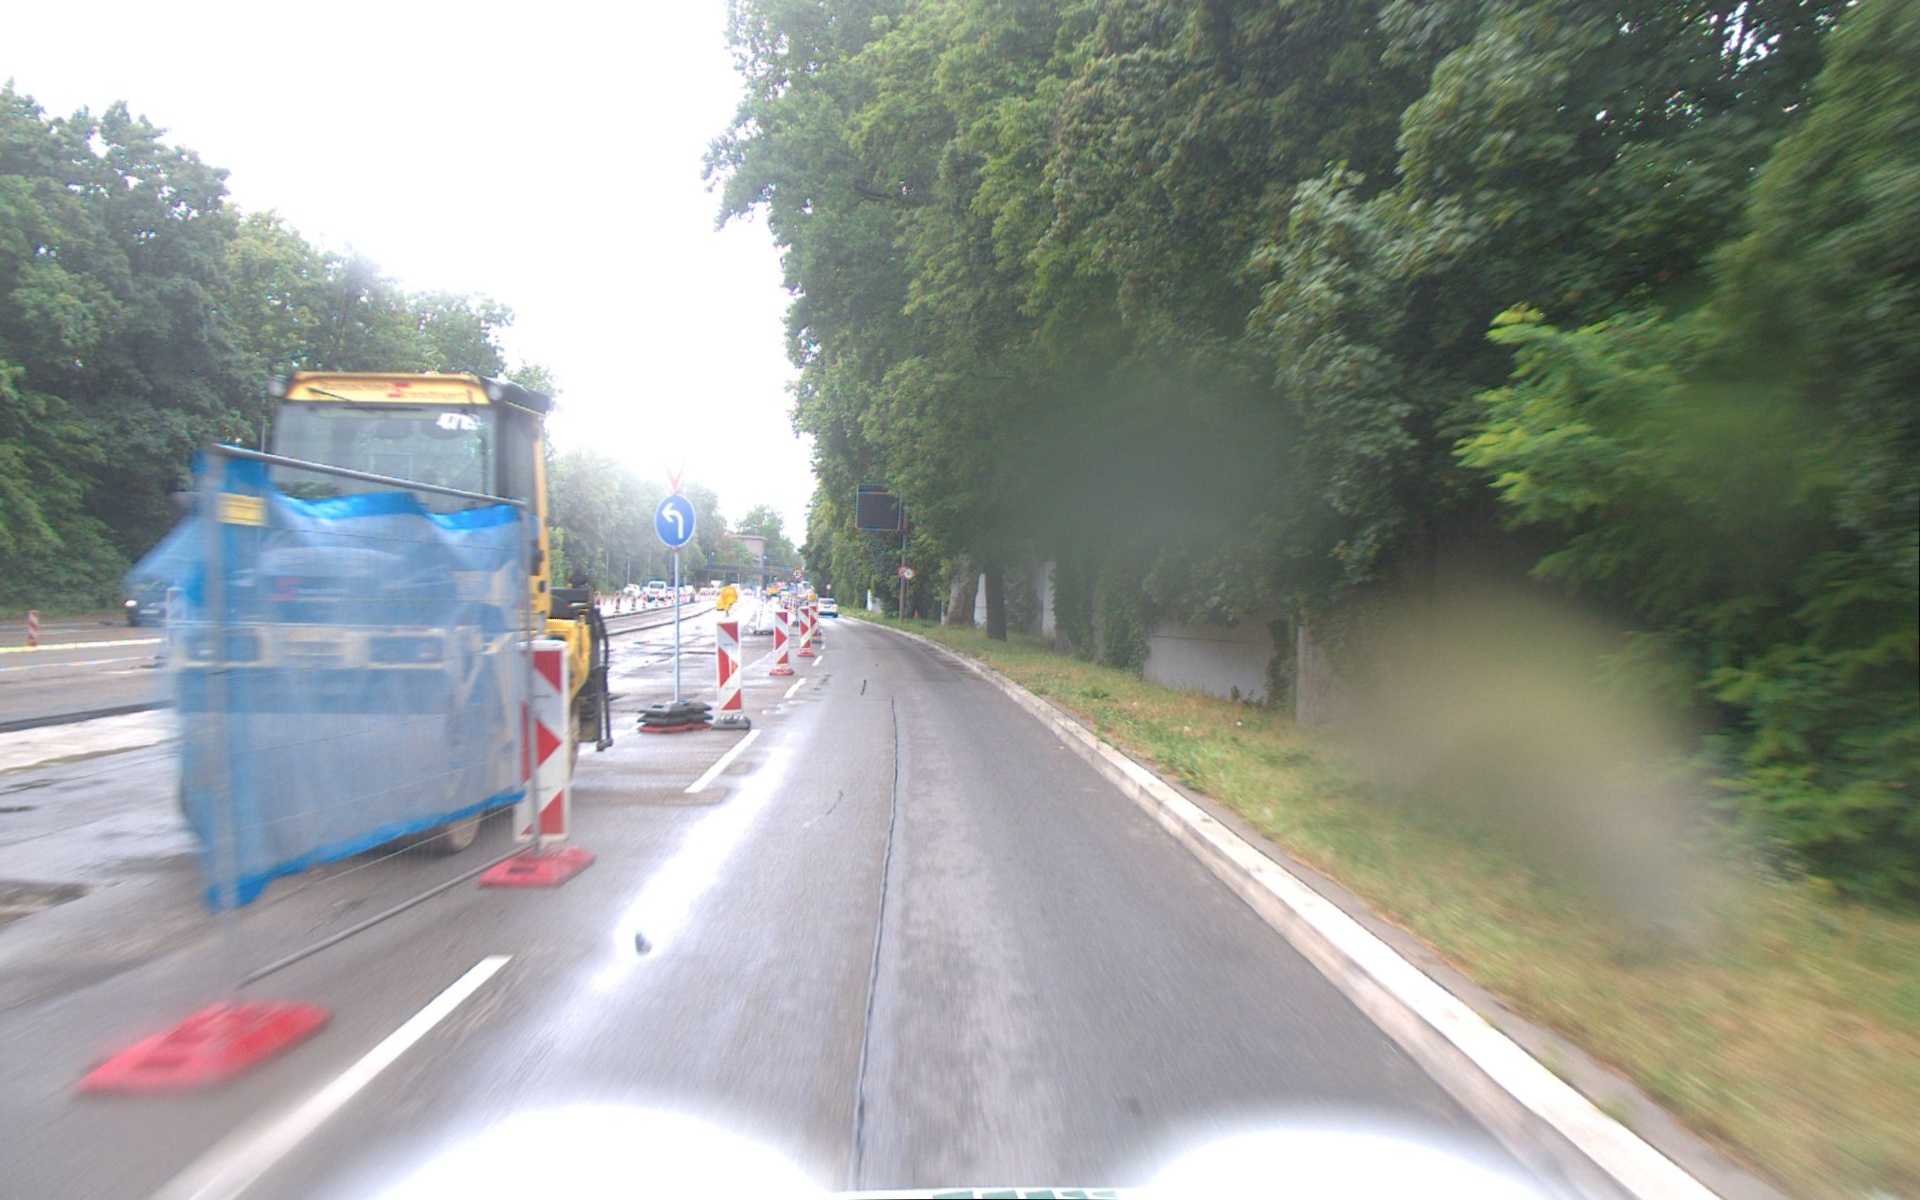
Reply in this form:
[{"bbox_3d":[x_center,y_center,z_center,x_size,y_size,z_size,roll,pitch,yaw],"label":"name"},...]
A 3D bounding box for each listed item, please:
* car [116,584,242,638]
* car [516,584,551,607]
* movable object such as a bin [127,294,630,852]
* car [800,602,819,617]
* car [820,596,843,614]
[{"bbox_3d":[-22.944,0.298,48.774,1.749,1.478,4.677,1,0,-4],"label":"car"},{"bbox_3d":[-29.784,-0.343,115.588,1.634,1.568,4.153,-1,0,-5],"label":"car"},{"bbox_3d":[-3.725,-0.150,11.746,1.767,3.037,5.244,1,0,-1],"label":"movable object such as a bin"},{"bbox_3d":[-14.697,0.907,161.857,1.818,1.458,3.727,1,0,-4],"label":"car"},{"bbox_3d":[-10.029,0.382,129.228,1.665,1.359,3.486,0,0,-7],"label":"car"}]
